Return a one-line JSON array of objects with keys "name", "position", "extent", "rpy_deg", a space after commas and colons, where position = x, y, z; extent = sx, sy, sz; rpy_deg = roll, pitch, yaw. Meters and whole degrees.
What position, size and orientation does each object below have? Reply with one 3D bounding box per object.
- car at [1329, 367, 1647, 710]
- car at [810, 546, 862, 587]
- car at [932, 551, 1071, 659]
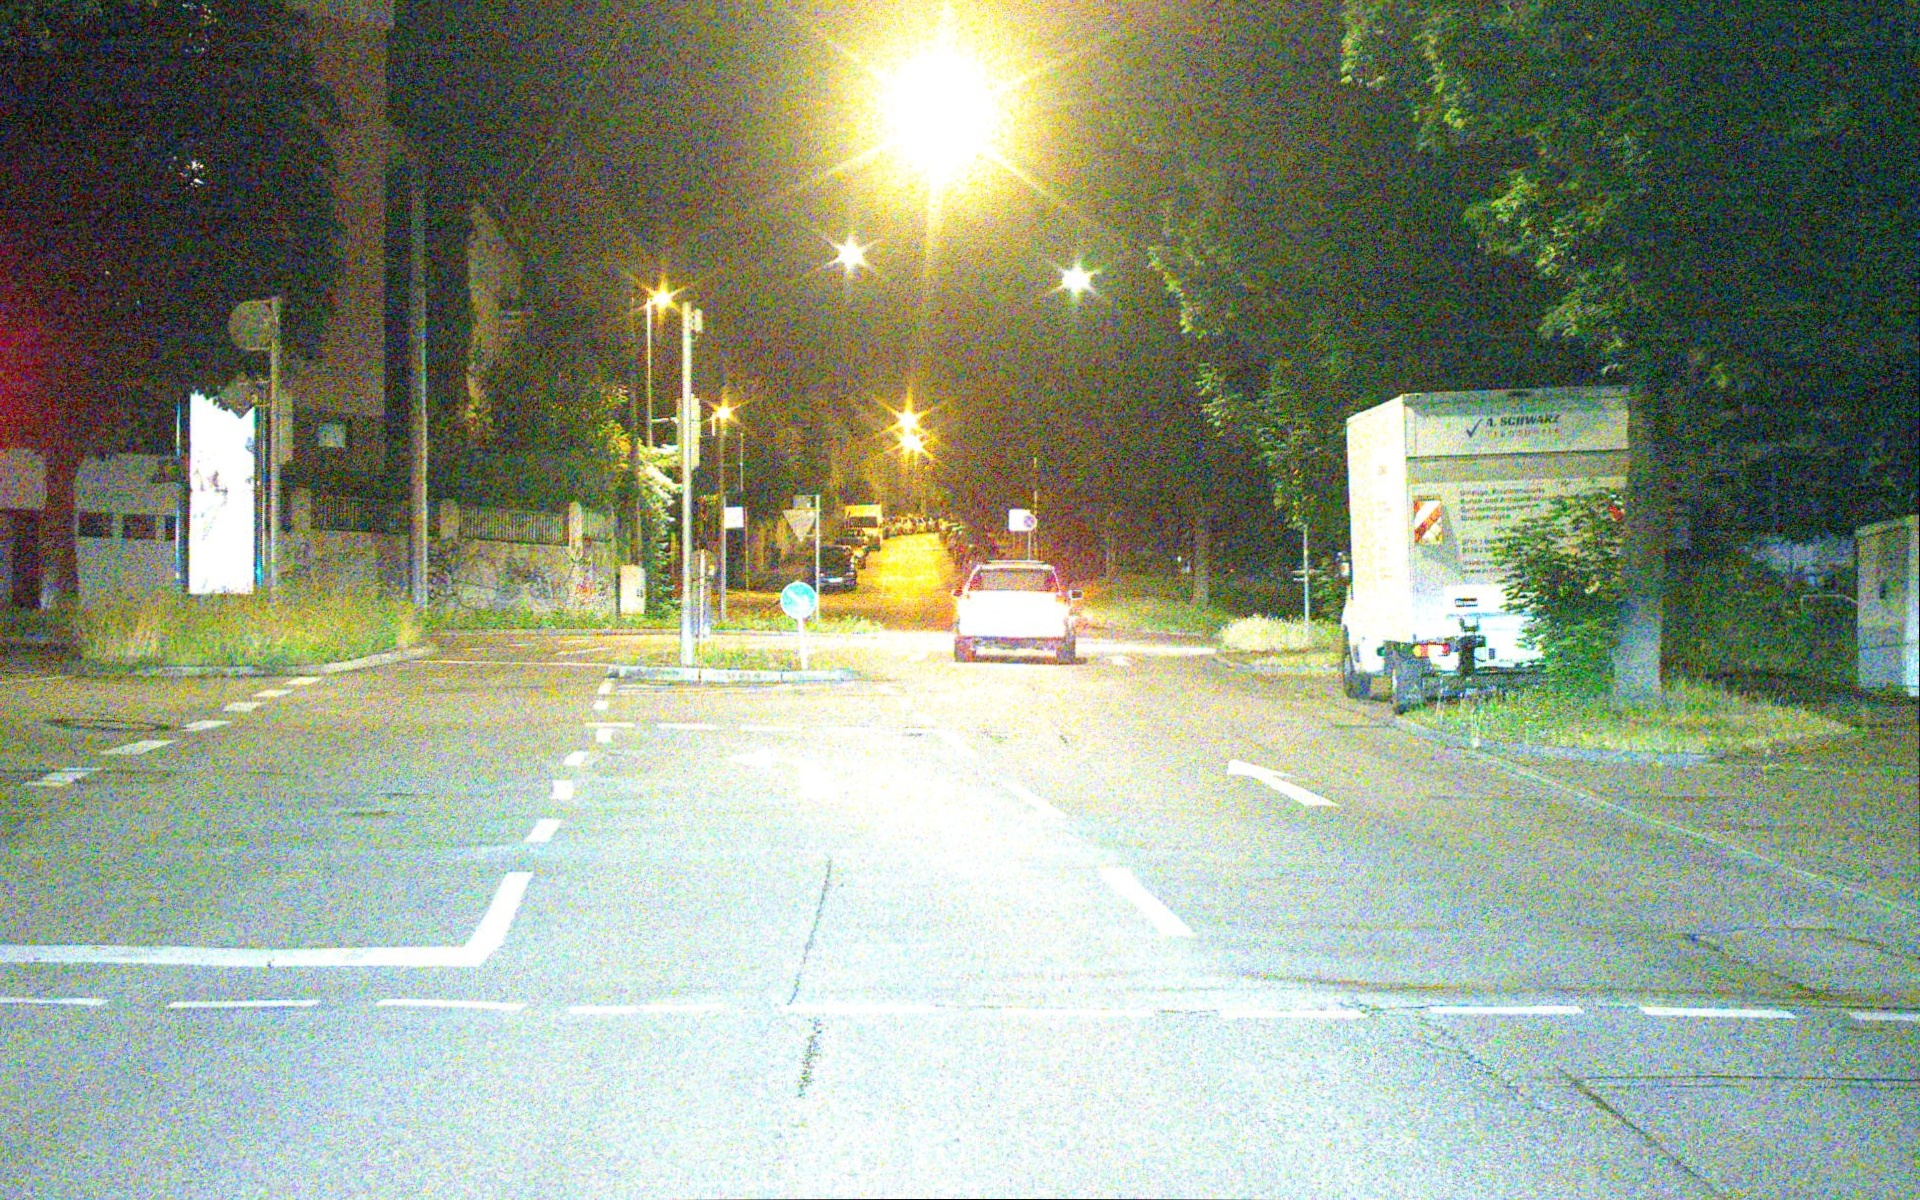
[{"name": "car", "position": [5.120, -0.594, 34.229], "extent": [2.297, 3.082, 5.840], "rpy_deg": [-1, 1, 1]}, {"name": "car", "position": [-4.838, -1.292, 134.312], "extent": [1.908, 1.552, 3.904], "rpy_deg": [1, 1, -1]}, {"name": "car", "position": [0.565, 0.049, 50.220], "extent": [1.776, 1.481, 4.000], "rpy_deg": [1, 1, -3]}]
